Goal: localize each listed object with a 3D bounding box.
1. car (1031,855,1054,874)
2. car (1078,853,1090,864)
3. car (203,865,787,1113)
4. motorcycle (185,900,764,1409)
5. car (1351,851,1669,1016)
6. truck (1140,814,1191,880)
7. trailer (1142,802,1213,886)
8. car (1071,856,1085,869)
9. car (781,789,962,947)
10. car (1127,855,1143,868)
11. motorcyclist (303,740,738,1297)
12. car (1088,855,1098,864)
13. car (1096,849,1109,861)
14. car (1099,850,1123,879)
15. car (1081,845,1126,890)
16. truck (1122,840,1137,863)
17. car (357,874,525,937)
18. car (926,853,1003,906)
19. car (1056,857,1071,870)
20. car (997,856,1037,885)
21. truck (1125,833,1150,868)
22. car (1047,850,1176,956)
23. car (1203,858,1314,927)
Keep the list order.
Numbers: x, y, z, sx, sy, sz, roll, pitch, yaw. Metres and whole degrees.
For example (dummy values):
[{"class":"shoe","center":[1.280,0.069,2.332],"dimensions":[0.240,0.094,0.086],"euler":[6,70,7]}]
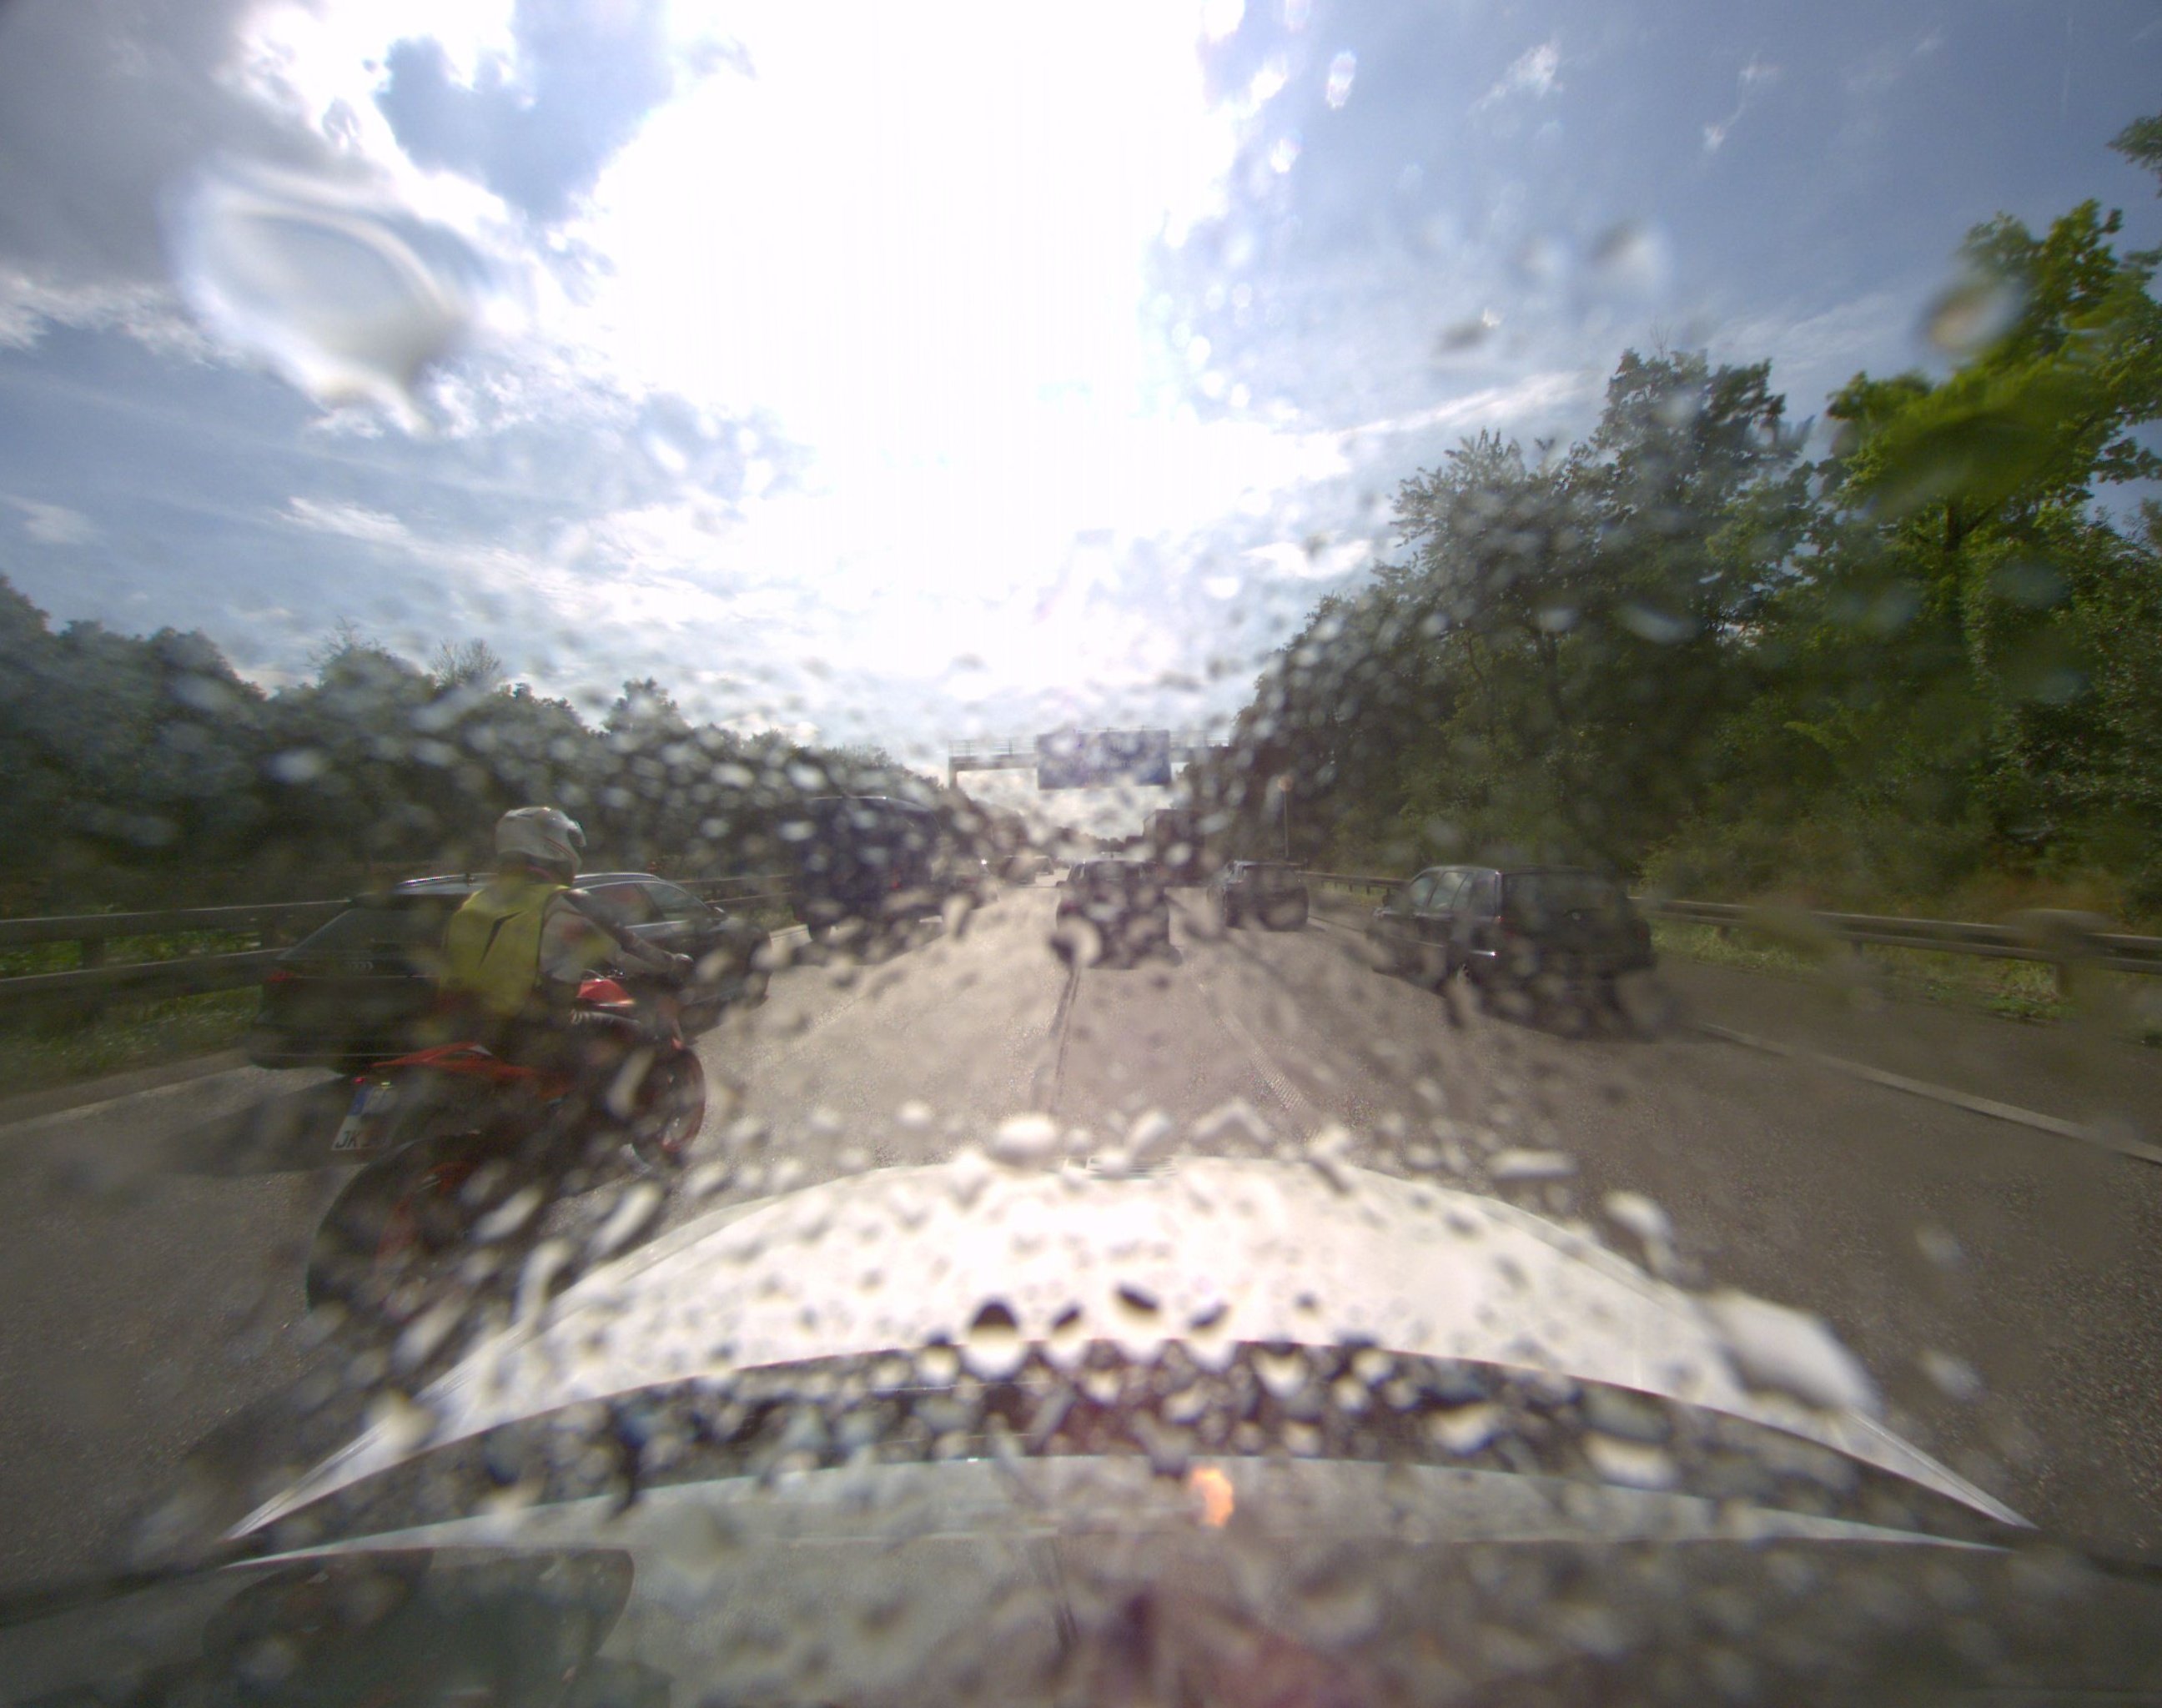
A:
[{"class":"car","center":[-3.270,0.907,70.067],"dimensions":[1.669,1.597,3.438],"euler":[-1,0,2]},{"class":"car","center":[0.576,0.901,149.849],"dimensions":[1.986,2.014,4.001],"euler":[0,-1,2]},{"class":"car","center":[-4.283,0.829,7.056],"dimensions":[1.713,1.411,4.469],"euler":[-1,0,2]},{"class":"motorcycle","center":[-2.078,0.883,3.305],"dimensions":[0.817,1.263,2.115],"euler":[0,0,-2]},{"class":"car","center":[4.466,0.717,9.175],"dimensions":[1.645,1.456,3.745],"euler":[-1,0,1]},{"class":"truck","center":[5.795,-0.475,56.745],"dimensions":[3.041,4.325,5.887],"euler":[0,0,1]},{"class":"trailer","center":[5.578,-0.496,49.517],"dimensions":[3.076,4.312,14.111],"euler":[-1,0,2]},{"class":"car","center":[-0.511,1.261,125.775],"dimensions":[1.986,2.014,4.001],"euler":[0,-1,2]},{"class":"car","center":[-3.973,0.252,16.689],"dimensions":[2.008,2.648,5.779],"euler":[-1,0,2]},{"class":"car","center":[6.183,0.890,93.961],"dimensions":[1.669,1.490,3.438],"euler":[-1,0,2]},{"class":"motorcyclist","center":[-2.076,0.521,3.298],"dimensions":[0.819,1.761,1.389],"euler":[0,-1,-2]},{"class":"car","center":[2.582,1.178,172.890],"dimensions":[1.986,2.014,4.001],"euler":[0,-1,2]},{"class":"car","center":[2.758,0.167,103.430],"dimensions":[1.625,1.490,3.438],"euler":[-1,0,2]},{"class":"car","center":[2.122,0.730,58.022],"dimensions":[1.669,1.936,3.775],"euler":[-1,0,2]},{"class":"car","center":[1.068,0.610,38.445],"dimensions":[1.986,2.014,4.001],"euler":[0,-1,1]},{"class":"truck","center":[10.161,-0.354,173.017],"dimensions":[2.870,4.687,12.665],"euler":[0,-1,2]},{"class":"car","center":[-21.083,1.620,27.122],"dimensions":[1.860,1.745,4.504],"euler":[-2,0,2]},{"class":"car","center":[-3.762,0.796,27.033],"dimensions":[1.752,1.595,4.332],"euler":[-1,0,2]},{"class":"car","center":[-2.211,1.158,101.202],"dimensions":[1.669,1.490,3.438],"euler":[-1,0,2]},{"class":"car","center":[-3.689,0.948,47.745],"dimensions":[1.886,1.628,4.197],"euler":[-1,0,2]},{"class":"truck","center":[7.548,-0.435,110.008],"dimensions":[3.189,4.404,9.438],"euler":[-1,0,3]},{"class":"car","center":[0.524,0.744,14.342],"dimensions":[1.907,1.565,4.315],"euler":[-1,0,2]},{"class":"car","center":[3.963,0.794,18.843],"dimensions":[1.748,1.396,4.370],"euler":[-1,0,2]}]
